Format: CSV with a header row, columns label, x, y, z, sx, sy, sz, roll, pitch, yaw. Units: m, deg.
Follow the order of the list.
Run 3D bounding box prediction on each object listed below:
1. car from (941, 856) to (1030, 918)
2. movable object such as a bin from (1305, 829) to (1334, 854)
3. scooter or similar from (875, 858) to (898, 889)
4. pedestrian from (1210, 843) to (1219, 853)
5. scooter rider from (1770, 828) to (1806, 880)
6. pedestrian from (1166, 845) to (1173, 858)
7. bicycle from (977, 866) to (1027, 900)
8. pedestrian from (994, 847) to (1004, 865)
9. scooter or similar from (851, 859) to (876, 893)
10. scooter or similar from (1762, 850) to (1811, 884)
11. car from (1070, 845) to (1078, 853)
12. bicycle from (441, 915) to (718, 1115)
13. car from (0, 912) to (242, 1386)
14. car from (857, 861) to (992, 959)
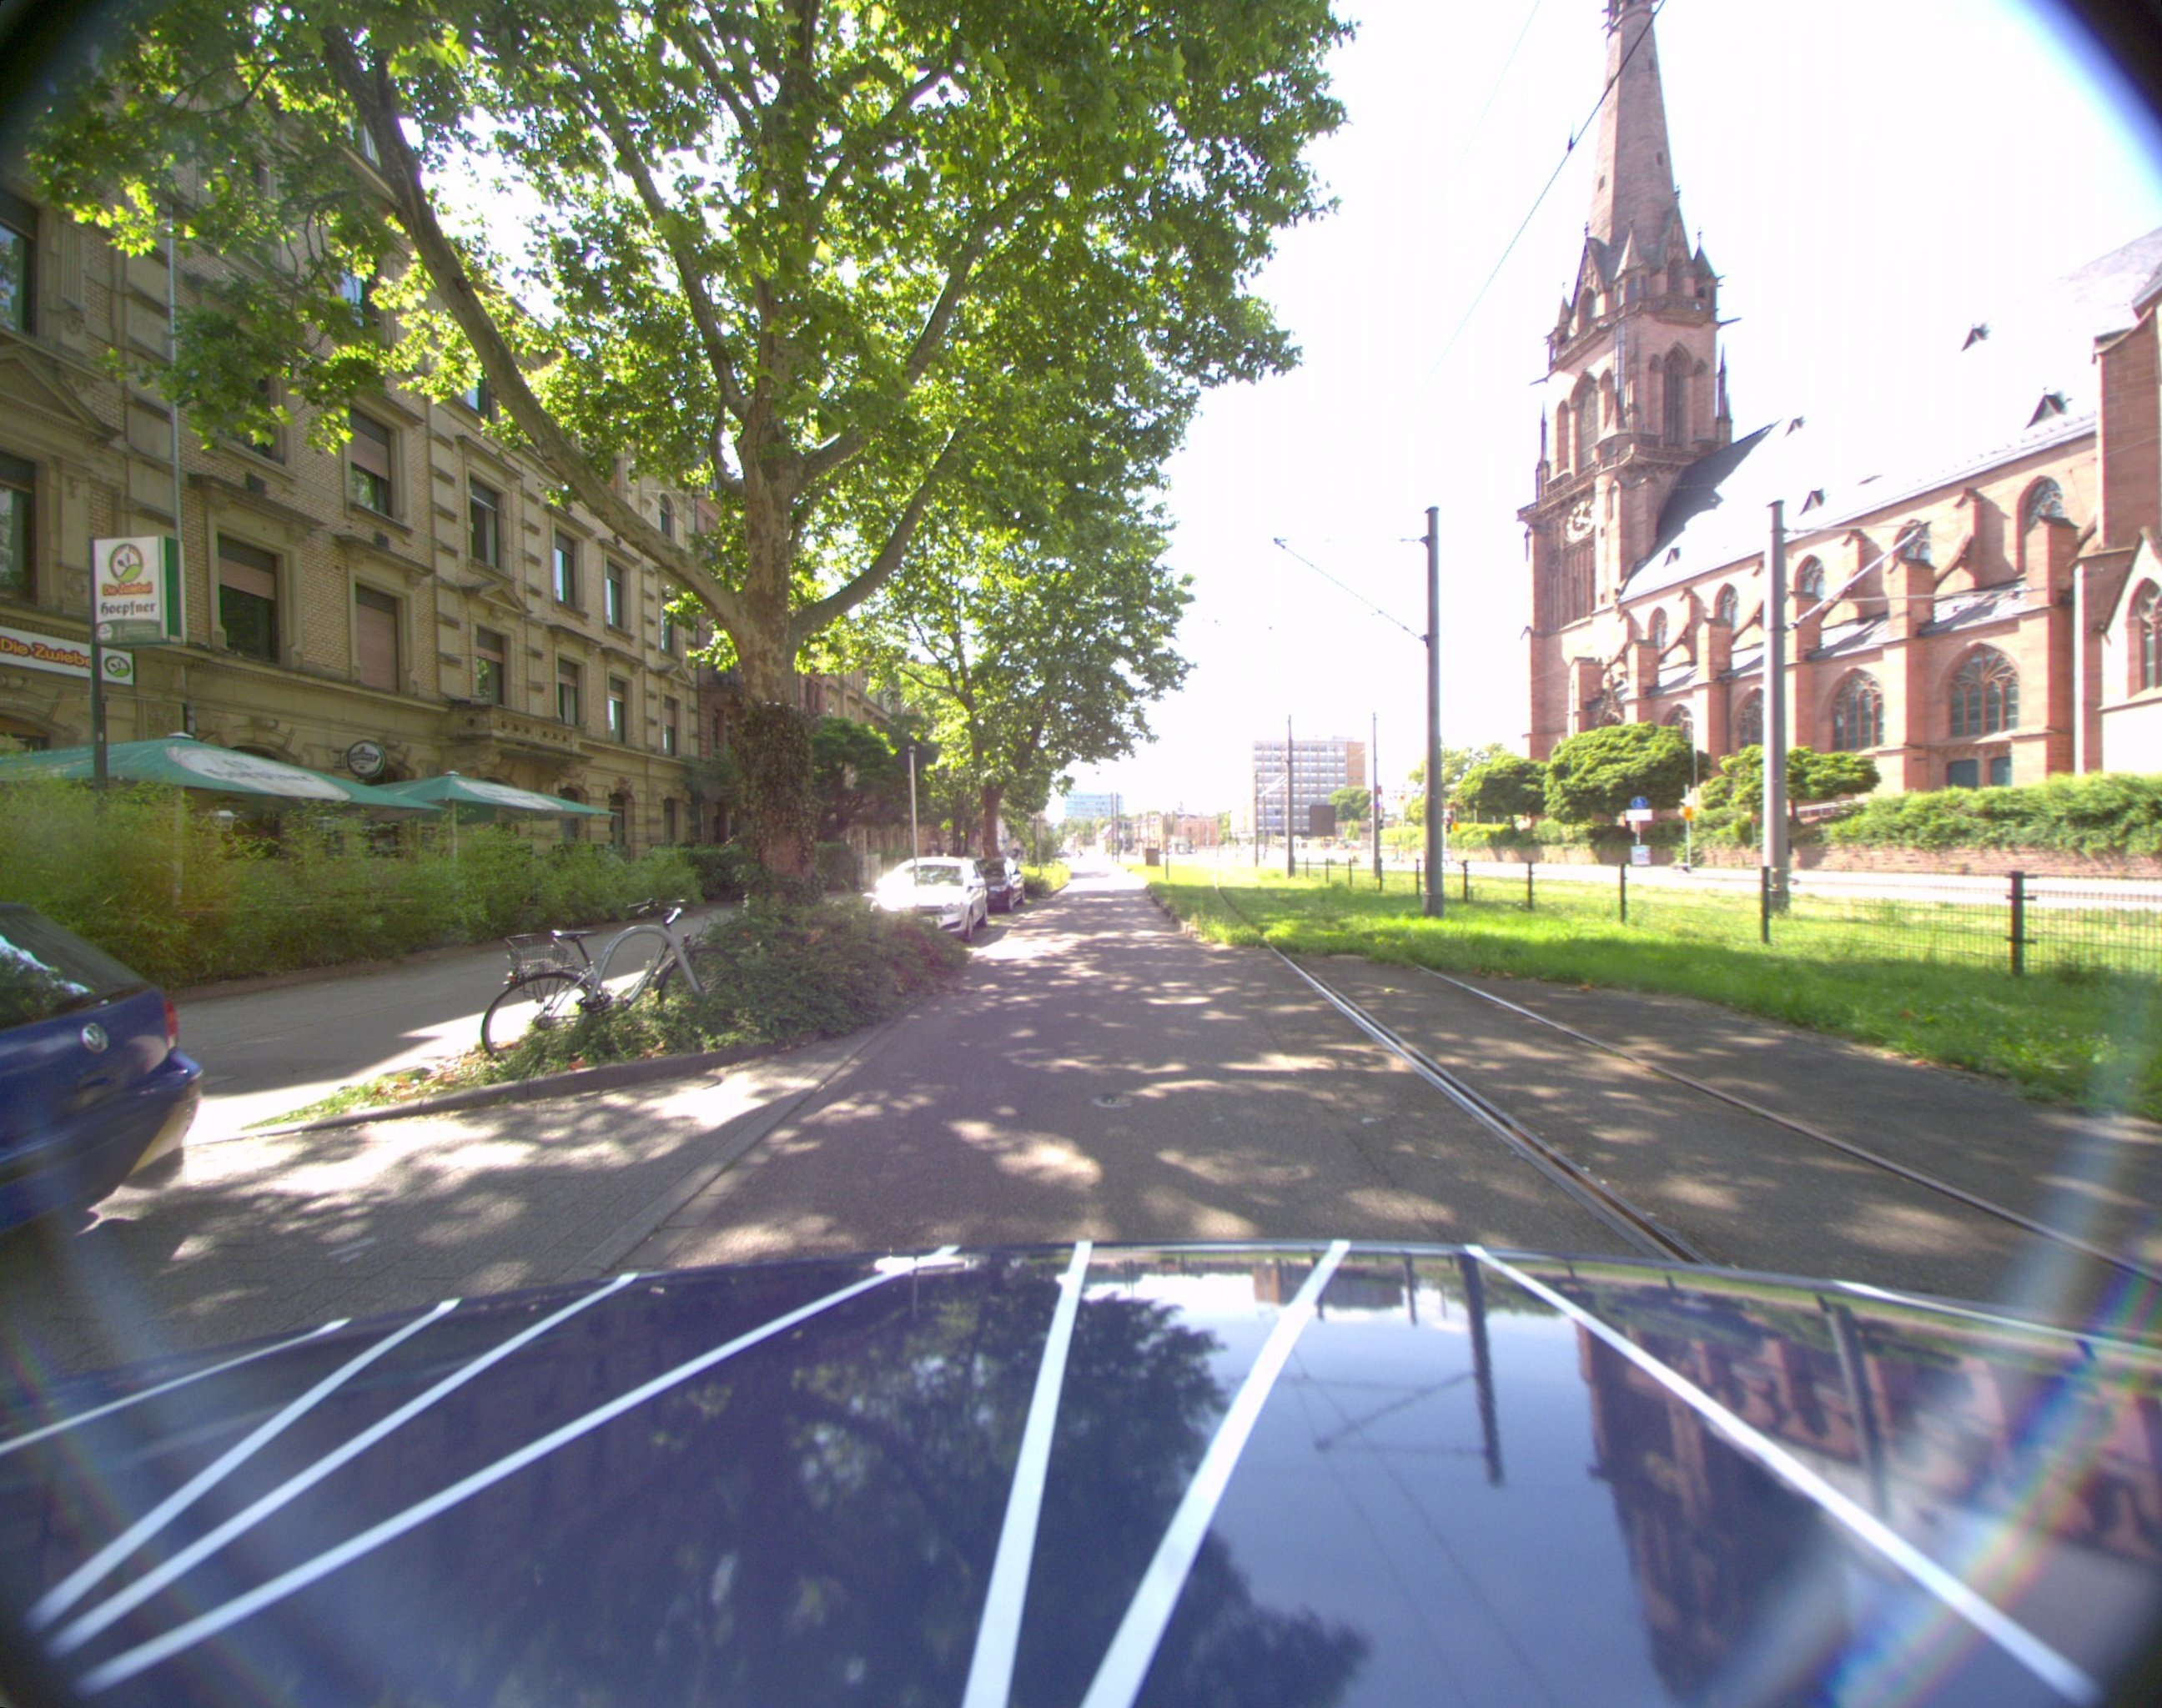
label,x,y,z,sx,sy,sz,roll,pitch,yaw
car,-2.582,0.841,21.687,1.838,1.499,4.643,-1,1,1
movable object such as a bin,37.782,-1.982,120.360,3.340,3.859,2.931,-1,1,-33
scooter or similar,-8.219,0.824,32.166,0.583,1.275,1.145,-1,1,3
pedestrian,25.346,-1.164,144.261,1.426,1.796,1.422,-1,1,-3
scooter rider,25.349,0.001,27.250,0.669,1.856,0.663,-1,1,-11
pedestrian,12.139,-0.338,103.731,0.860,1.644,0.759,-1,1,1
bicycle,-2.672,0.960,25.757,1.641,1.082,0.470,-1,1,-32
pedestrian,-7.763,0.188,71.627,0.797,1.708,0.967,-1,1,0
scooter or similar,-8.420,0.839,29.445,0.583,1.240,1.145,-1,1,1
scooter or similar,25.296,0.459,27.254,1.271,1.197,0.656,-1,1,-11
car,-1.829,-1.280,203.175,1.998,2.002,4.000,-1,1,1
bicycle,-3.549,1.070,5.535,0.421,1.099,1.619,0,1,33
car,-5.457,1.015,1.878,4.098,1.401,1.884,-1,1,-26
car,-2.824,0.933,14.678,1.838,1.499,4.490,-1,1,-3
